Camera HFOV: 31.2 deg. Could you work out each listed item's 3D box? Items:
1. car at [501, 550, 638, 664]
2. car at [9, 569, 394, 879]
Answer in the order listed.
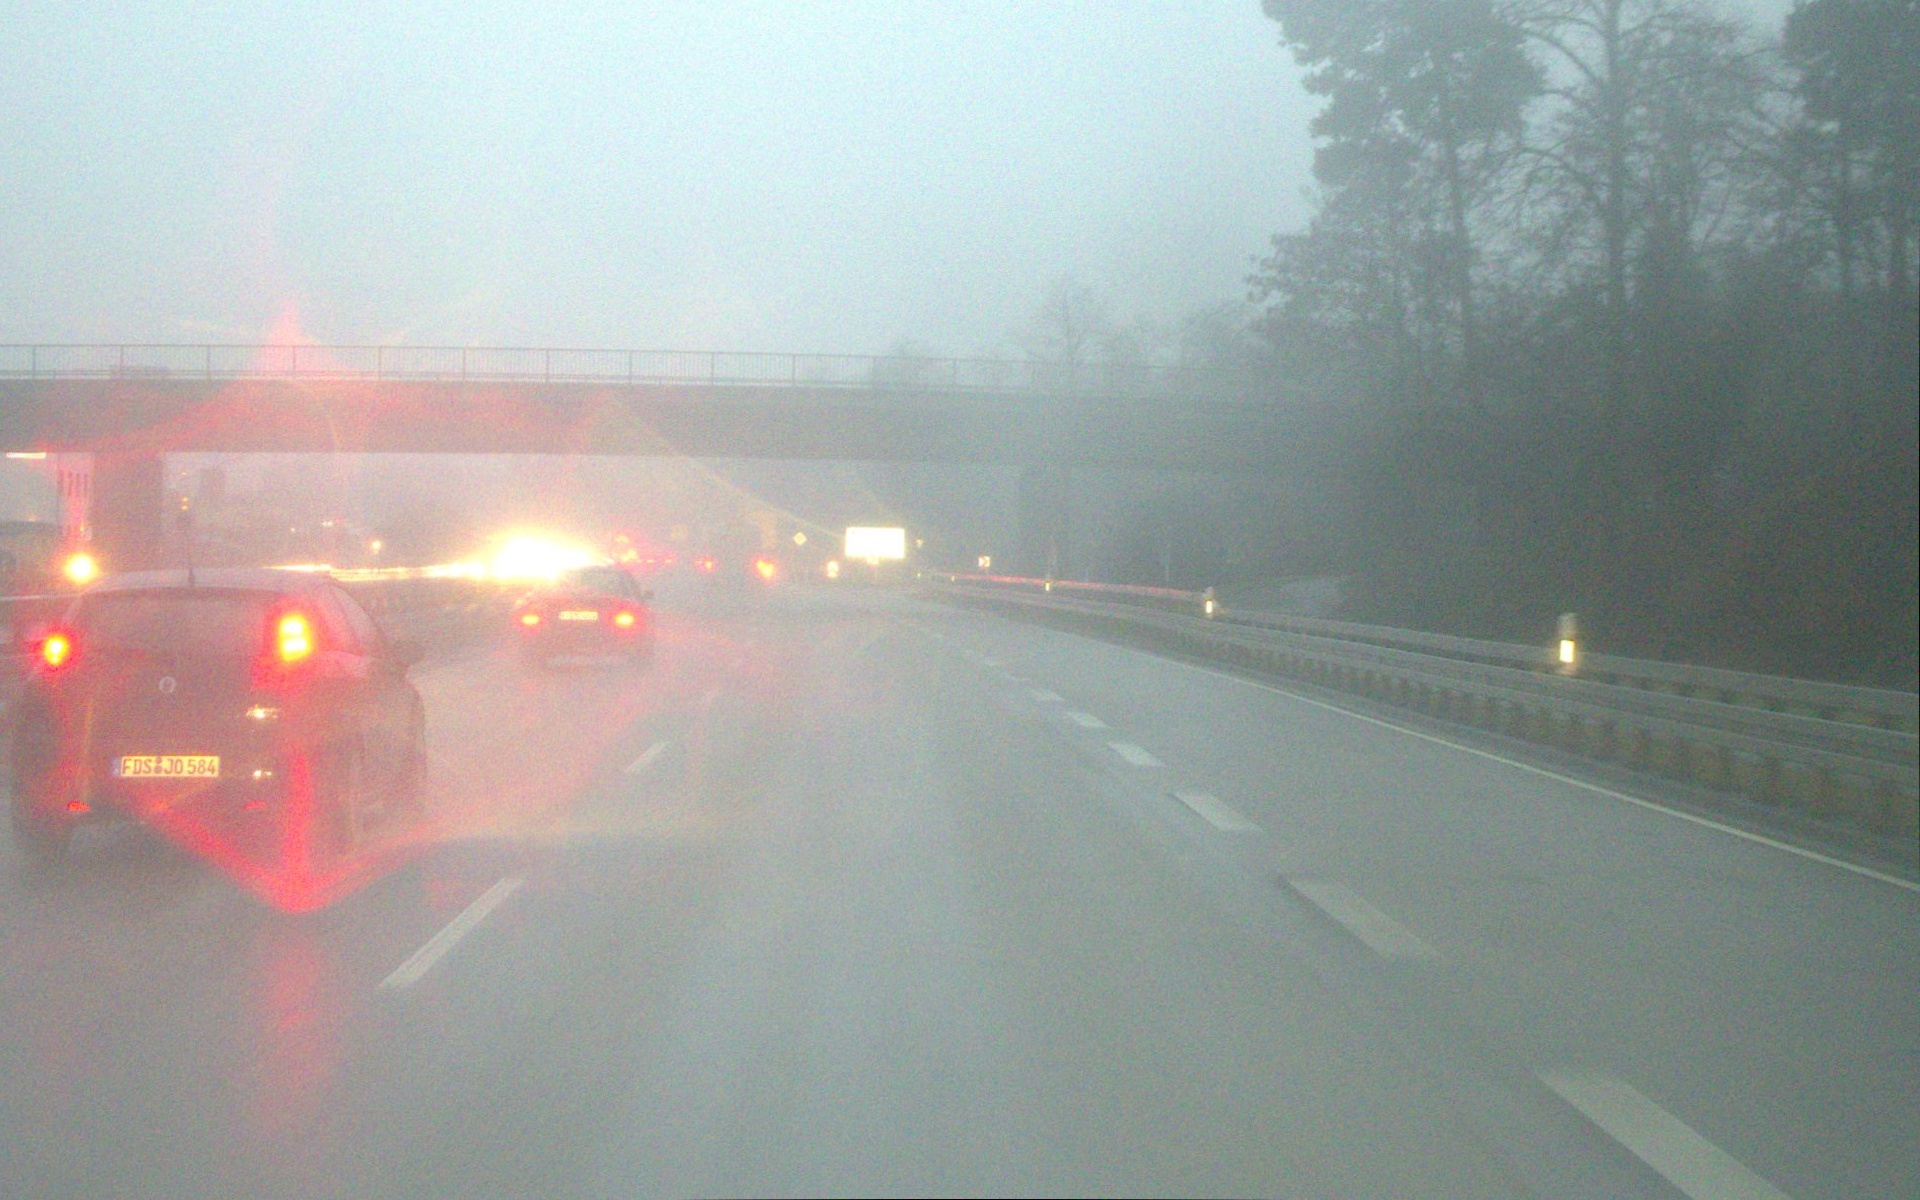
[{"bbox_3d":[-5.437,0.058,48.302,1.775,1.529,4.703,0,1,-5],"label":"car"},{"bbox_3d":[-4.033,0.600,18.725,1.527,1.411,3.480,3,1,-5],"label":"car"}]
